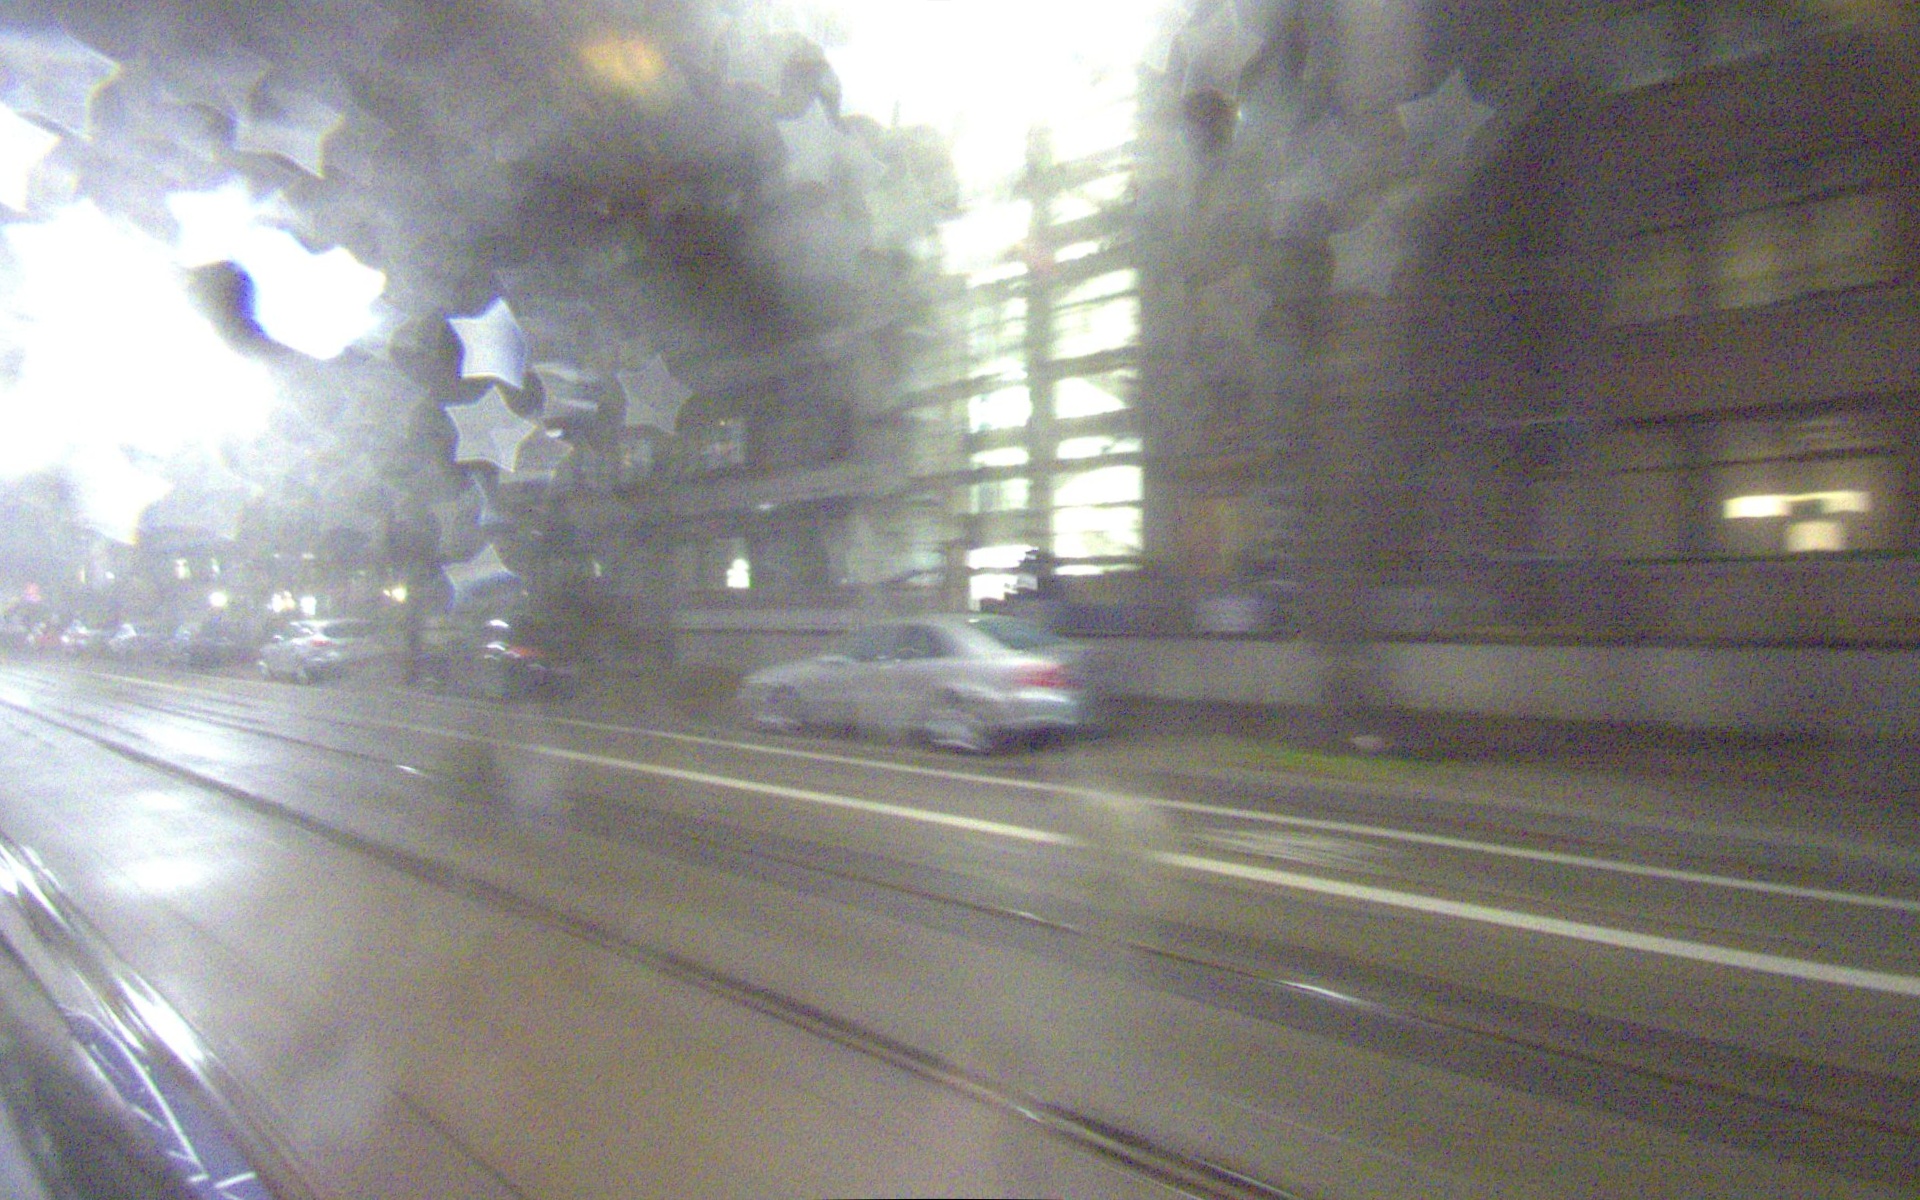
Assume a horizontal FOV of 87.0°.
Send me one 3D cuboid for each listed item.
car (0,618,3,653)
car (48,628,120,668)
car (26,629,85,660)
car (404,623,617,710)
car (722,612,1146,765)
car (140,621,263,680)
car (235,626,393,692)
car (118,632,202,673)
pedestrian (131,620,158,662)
[{"bbox_3d":[-71.173,2.612,73.074,5.253,2.527,2.221,-1,1,38],"label":"car"},{"bbox_3d":[-39.310,2.148,45.394,4.350,1.590,1.791,-2,1,41],"label":"car"},{"bbox_3d":[-45.805,2.235,51.228,3.947,1.467,1.701,-1,-1,40],"label":"car"},{"bbox_3d":[-8.347,1.151,18.670,4.203,1.434,1.822,-1,-2,38],"label":"car"},{"bbox_3d":[-0.462,0.915,12.015,4.950,1.474,1.871,-1,-2,36],"label":"car"},{"bbox_3d":[-24.163,1.553,32.193,4.586,1.631,2.122,-1,1,40],"label":"car"},{"bbox_3d":[-15.715,1.367,24.524,4.600,1.451,1.756,-1,-2,37],"label":"car"},{"bbox_3d":[-30.699,1.968,38.807,4.623,1.449,1.713,-1,-1,41],"label":"car"},{"bbox_3d":[-38.583,1.918,47.887,1.290,1.916,0.784,-1,-1,41],"label":"pedestrian"}]
